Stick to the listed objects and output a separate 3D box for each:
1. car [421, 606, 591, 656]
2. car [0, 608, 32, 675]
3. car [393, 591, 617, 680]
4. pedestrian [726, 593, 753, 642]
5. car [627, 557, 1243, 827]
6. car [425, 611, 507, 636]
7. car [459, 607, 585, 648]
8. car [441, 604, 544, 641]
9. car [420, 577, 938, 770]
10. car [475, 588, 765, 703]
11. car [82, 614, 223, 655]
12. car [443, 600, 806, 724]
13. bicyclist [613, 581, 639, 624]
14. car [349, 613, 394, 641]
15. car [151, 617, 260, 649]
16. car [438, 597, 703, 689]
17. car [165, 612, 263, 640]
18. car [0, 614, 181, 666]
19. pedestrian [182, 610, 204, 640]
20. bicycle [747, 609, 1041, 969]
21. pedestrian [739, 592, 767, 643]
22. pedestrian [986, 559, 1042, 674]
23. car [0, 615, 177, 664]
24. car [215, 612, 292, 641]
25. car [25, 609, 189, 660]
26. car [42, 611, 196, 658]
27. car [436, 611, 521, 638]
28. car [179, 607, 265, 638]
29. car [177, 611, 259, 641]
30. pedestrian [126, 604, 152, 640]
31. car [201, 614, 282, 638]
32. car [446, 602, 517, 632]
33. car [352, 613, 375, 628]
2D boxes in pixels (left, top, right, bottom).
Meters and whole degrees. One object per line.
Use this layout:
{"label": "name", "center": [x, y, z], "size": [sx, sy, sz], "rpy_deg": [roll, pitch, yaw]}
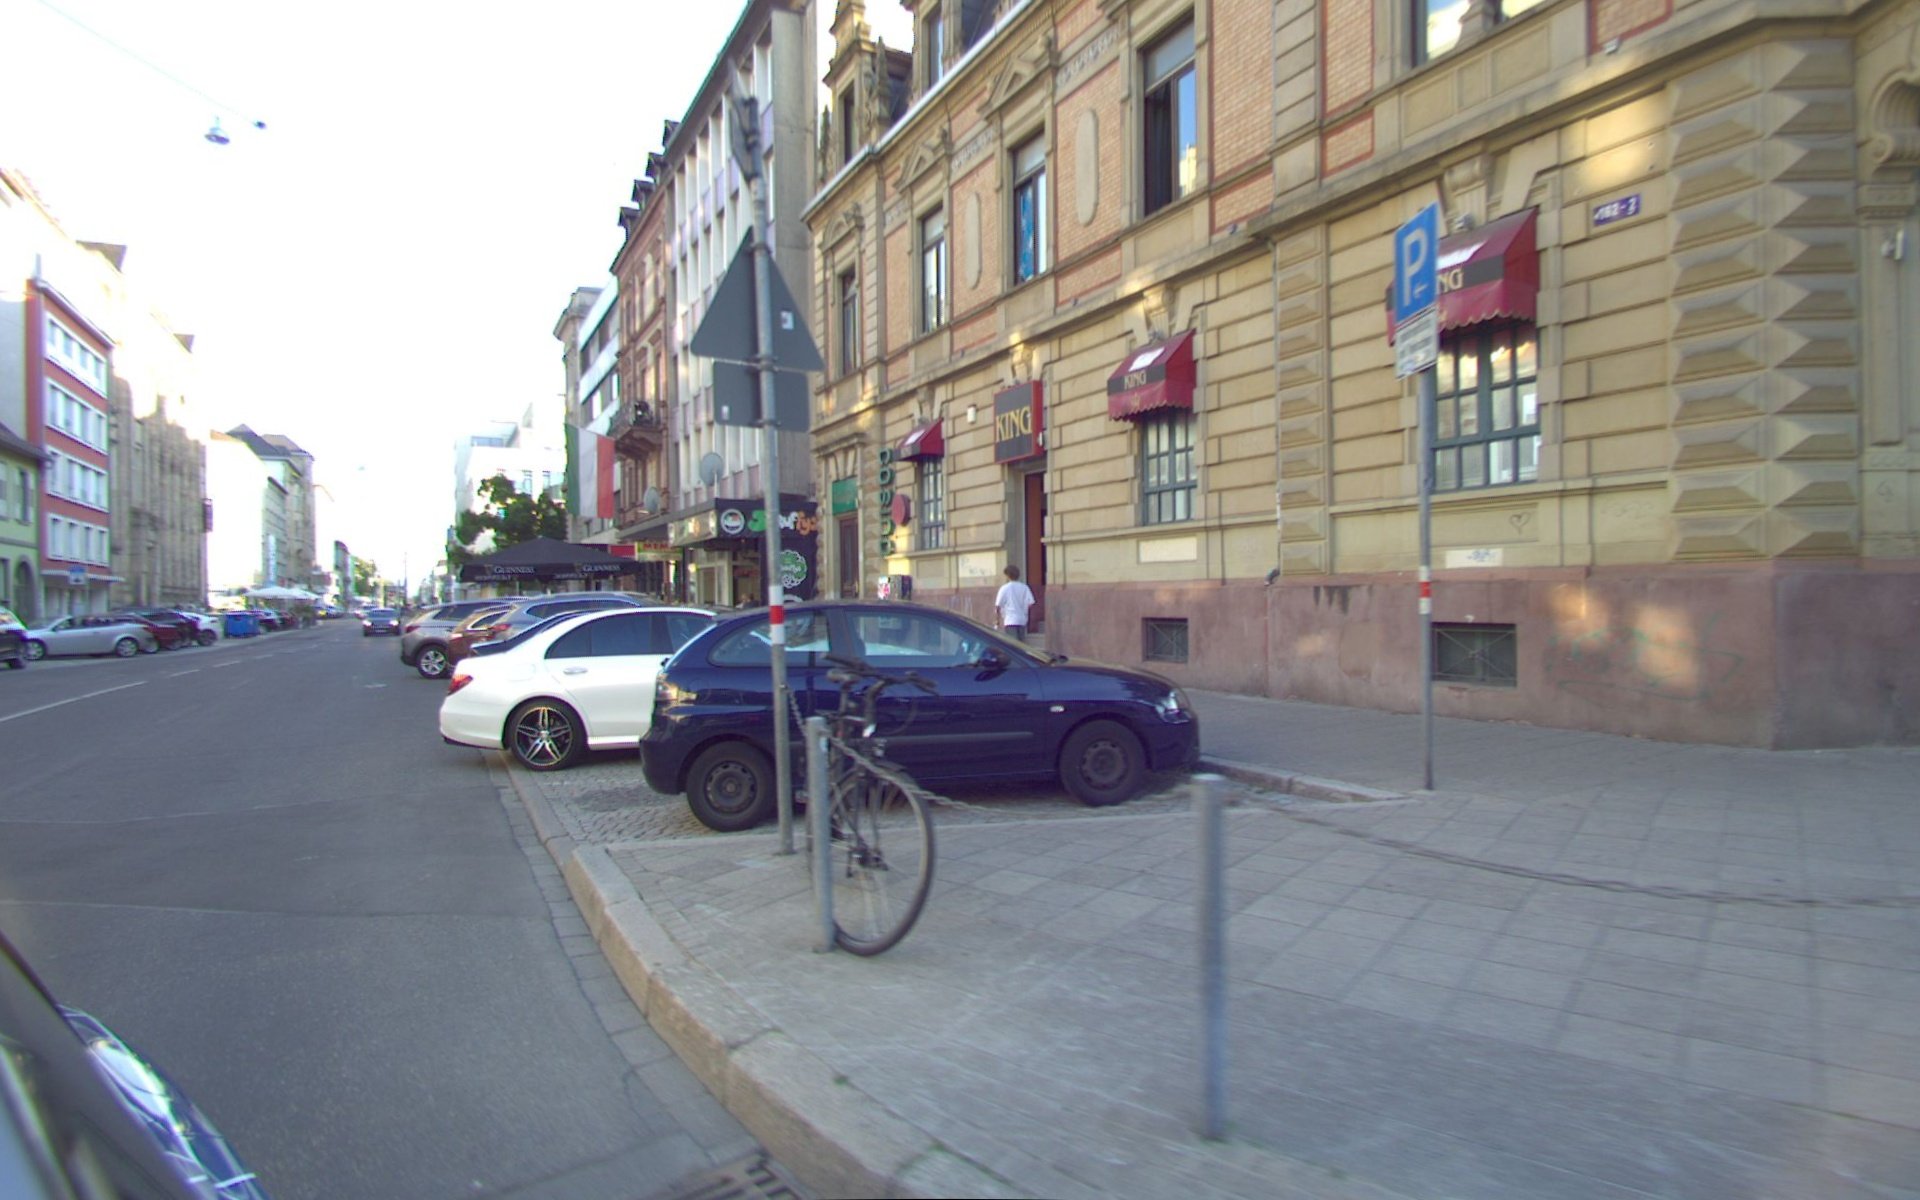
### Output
{"label": "car", "center": [-14.827, 0.999, 33.223], "size": [4.775, 1.516, 1.907], "rpy_deg": [-1, -1, 1]}
{"label": "car", "center": [-24.571, 1.038, 24.601], "size": [1.802, 1.671, 4.377], "rpy_deg": [0, 0, -26]}
{"label": "car", "center": [-9.670, 0.720, 21.793], "size": [3.989, 1.641, 1.856], "rpy_deg": [-2, 0, -7]}
{"label": "pedestrian", "center": [-6.002, 0.467, 27.516], "size": [0.564, 1.318, 0.577], "rpy_deg": [-1, 0, -28]}
{"label": "car", "center": [-0.189, 0.564, 7.223], "size": [3.805, 1.472, 1.742], "rpy_deg": [-3, 0, -4]}
{"label": "car", "center": [-30.272, 1.416, 62.155], "size": [4.349, 1.436, 1.914], "rpy_deg": [-1, -1, -20]}
{"label": "car", "center": [-18.348, 1.117, 42.489], "size": [4.758, 1.580, 1.914], "rpy_deg": [-1, -1, -24]}
{"label": "car", "center": [-24.341, 1.155, 52.862], "size": [4.758, 1.787, 1.914], "rpy_deg": [-1, -1, -20]}
{"label": "car", "center": [-2.533, 0.656, 9.942], "size": [4.563, 1.523, 1.769], "rpy_deg": [-2, 0, 0]}
{"label": "car", "center": [-5.208, 0.684, 15.909], "size": [3.991, 1.669, 1.794], "rpy_deg": [0, -1, -3]}
{"label": "car", "center": [-32.961, 1.377, 41.404], "size": [1.748, 1.484, 4.183], "rpy_deg": [-1, 0, 31]}
{"label": "car", "center": [-4.196, 0.761, 13.169], "size": [4.189, 1.458, 1.712], "rpy_deg": [0, -1, -3]}
{"label": "bicyclist", "center": [-12.464, 0.106, 37.733], "size": [0.755, 1.571, 0.815], "rpy_deg": [-1, 0, -29]}
{"label": "car", "center": [-31.593, 1.407, 54.412], "size": [1.875, 1.436, 4.440], "rpy_deg": [-1, 0, -27]}
{"label": "car", "center": [-38.667, 1.670, 51.968], "size": [1.748, 1.484, 4.183], "rpy_deg": [-1, 0, 31]}
{"label": "car", "center": [-7.091, 0.752, 18.696], "size": [4.239, 1.560, 1.709], "rpy_deg": [-1, 0, 3]}
{"label": "car", "center": [-42.417, 1.458, 57.596], "size": [1.751, 1.484, 4.176], "rpy_deg": [-1, 0, 37]}
{"label": "car", "center": [-27.480, 1.220, 32.067], "size": [1.741, 1.450, 4.200], "rpy_deg": [-1, 0, 20]}
{"label": "pedestrian", "center": [-47.479, 1.561, 62.678], "size": [0.836, 1.813, 1.016], "rpy_deg": [-1, 0, -23]}
{"label": "bicycle", "center": [-0.387, 0.637, 4.320], "size": [0.716, 1.134, 1.809], "rpy_deg": [-4, 1, -20]}
{"label": "pedestrian", "center": [-5.430, 0.465, 26.555], "size": [0.564, 1.318, 0.577], "rpy_deg": [-1, 0, -28]}
{"label": "pedestrian", "center": [0.781, 0.230, 14.772], "size": [0.568, 1.621, 0.523], "rpy_deg": [-2, 0, -27]}
{"label": "car", "center": [-29.203, 1.273, 34.047], "size": [1.746, 1.450, 4.189], "rpy_deg": [-1, 0, 27]}
{"label": "car", "center": [-46.316, 1.727, 66.423], "size": [1.751, 1.737, 3.790], "rpy_deg": [-2, 0, 37]}
{"label": "car", "center": [-30.550, 1.195, 36.379], "size": [1.746, 1.689, 4.189], "rpy_deg": [-1, 0, 27]}
{"label": "car", "center": [-31.986, 1.261, 38.618], "size": [1.748, 1.629, 4.183], "rpy_deg": [-1, 0, 31]}
{"label": "car", "center": [-28.135, 1.427, 59.283], "size": [4.349, 1.436, 1.914], "rpy_deg": [-1, -1, -20]}
{"label": "car", "center": [-43.954, 1.316, 60.351], "size": [1.751, 1.766, 3.790], "rpy_deg": [-1, 0, 37]}
{"label": "car", "center": [-50.366, 1.749, 68.792], "size": [1.751, 1.896, 4.176], "rpy_deg": [-1, 0, 37]}
{"label": "pedestrian", "center": [-45.037, 1.213, 55.539], "size": [0.836, 1.958, 1.016], "rpy_deg": [-1, 0, -23]}
{"label": "car", "center": [-45.034, 1.618, 63.495], "size": [1.736, 1.357, 3.790], "rpy_deg": [-2, 0, 37]}
{"label": "car", "center": [-33.419, 1.158, 70.815], "size": [4.349, 1.977, 1.914], "rpy_deg": [-1, -1, -20]}
{"label": "car", "center": [-61.546, 2.112, 104.482], "size": [1.875, 1.436, 4.440], "rpy_deg": [-1, 0, -28]}
